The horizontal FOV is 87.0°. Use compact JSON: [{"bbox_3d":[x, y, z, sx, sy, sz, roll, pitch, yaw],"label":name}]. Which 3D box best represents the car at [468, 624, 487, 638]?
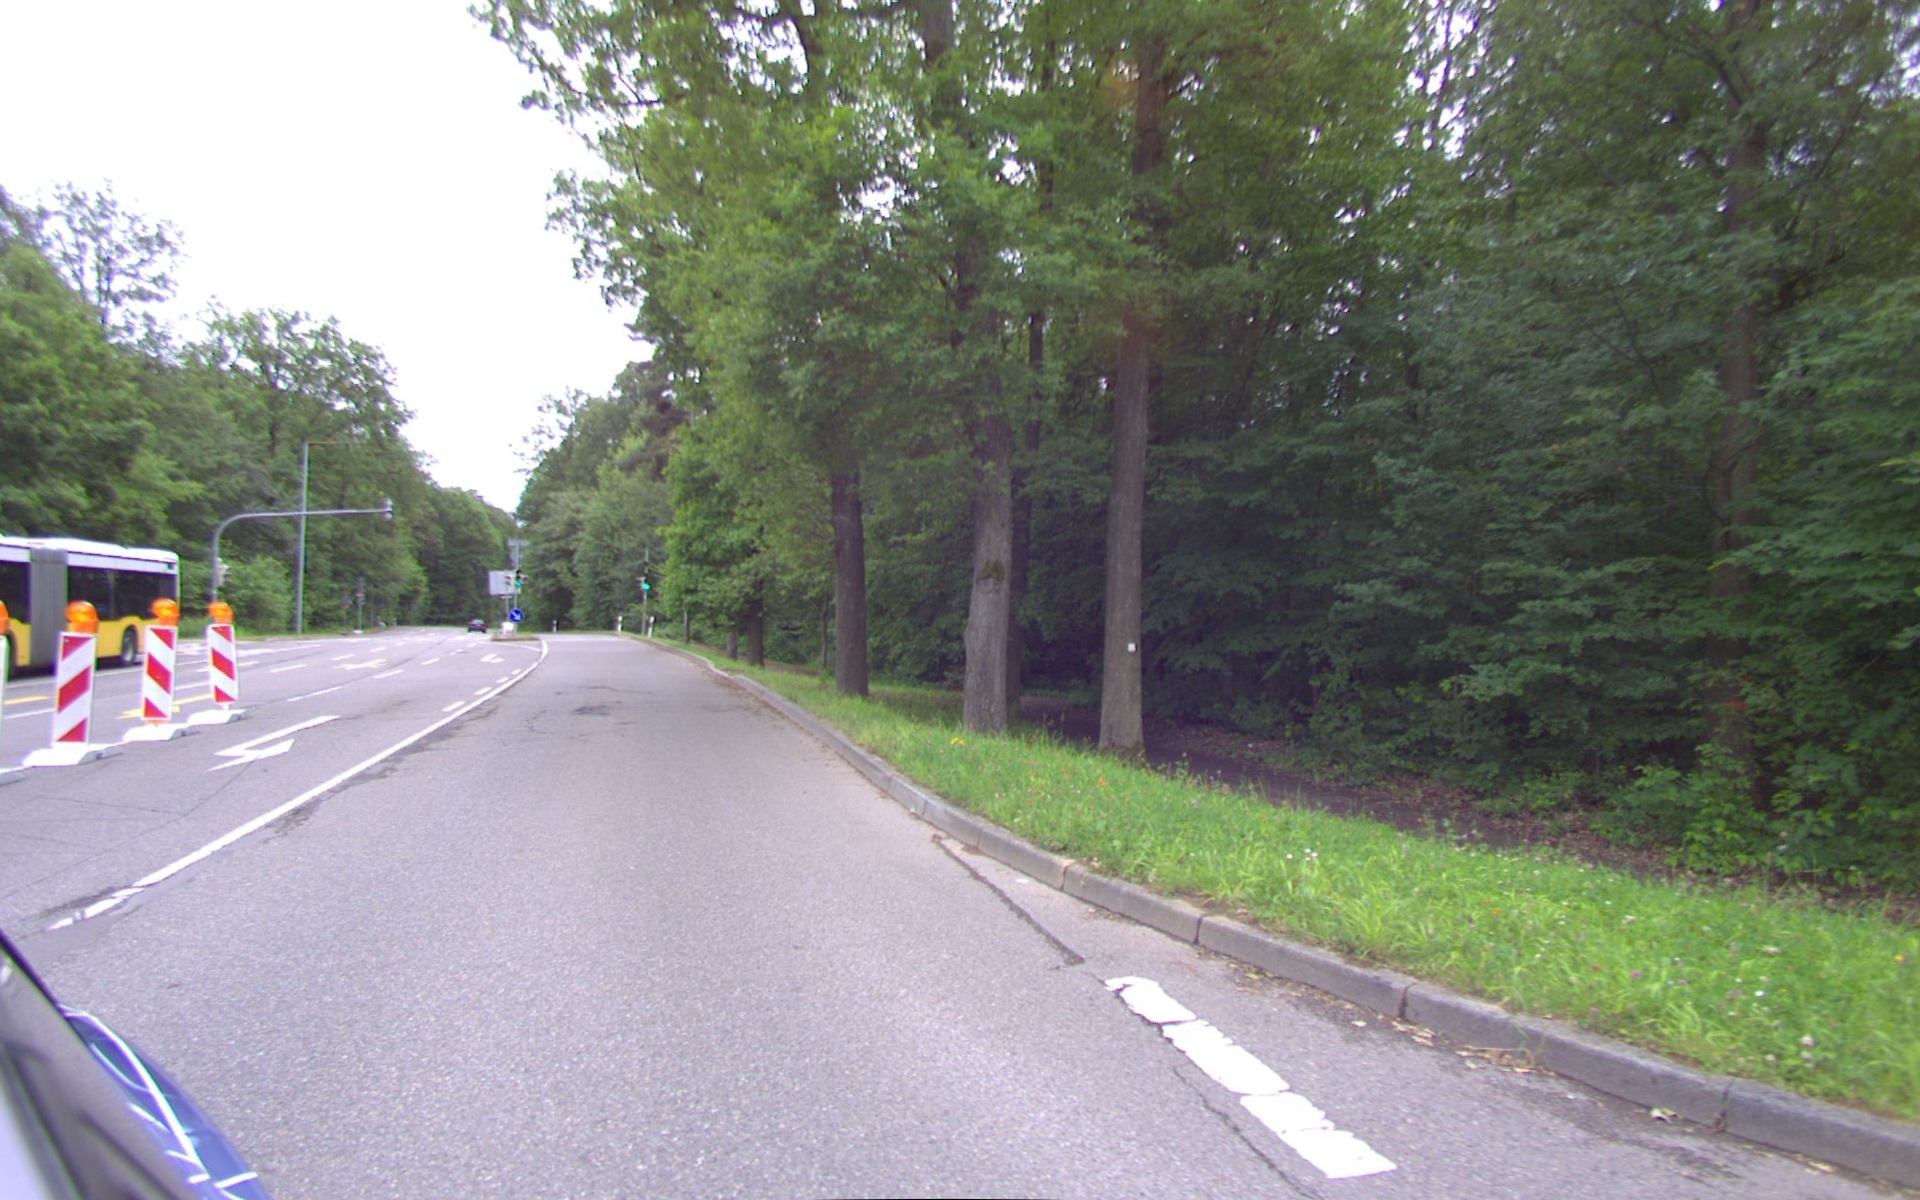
[{"bbox_3d":[-51.096,3.287,107.284,1.722,1.340,4.013,0,0,-24],"label":"car"}]

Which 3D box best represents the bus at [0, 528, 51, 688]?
[{"bbox_3d":[-19.230,0.086,16.523,2.763,3.183,10.552,1,-1,-20],"label":"bus"}]

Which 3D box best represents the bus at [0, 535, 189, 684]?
[{"bbox_3d":[-22.339,0.254,25.183,2.763,3.183,7.781,1,-1,-20],"label":"bus"}]
